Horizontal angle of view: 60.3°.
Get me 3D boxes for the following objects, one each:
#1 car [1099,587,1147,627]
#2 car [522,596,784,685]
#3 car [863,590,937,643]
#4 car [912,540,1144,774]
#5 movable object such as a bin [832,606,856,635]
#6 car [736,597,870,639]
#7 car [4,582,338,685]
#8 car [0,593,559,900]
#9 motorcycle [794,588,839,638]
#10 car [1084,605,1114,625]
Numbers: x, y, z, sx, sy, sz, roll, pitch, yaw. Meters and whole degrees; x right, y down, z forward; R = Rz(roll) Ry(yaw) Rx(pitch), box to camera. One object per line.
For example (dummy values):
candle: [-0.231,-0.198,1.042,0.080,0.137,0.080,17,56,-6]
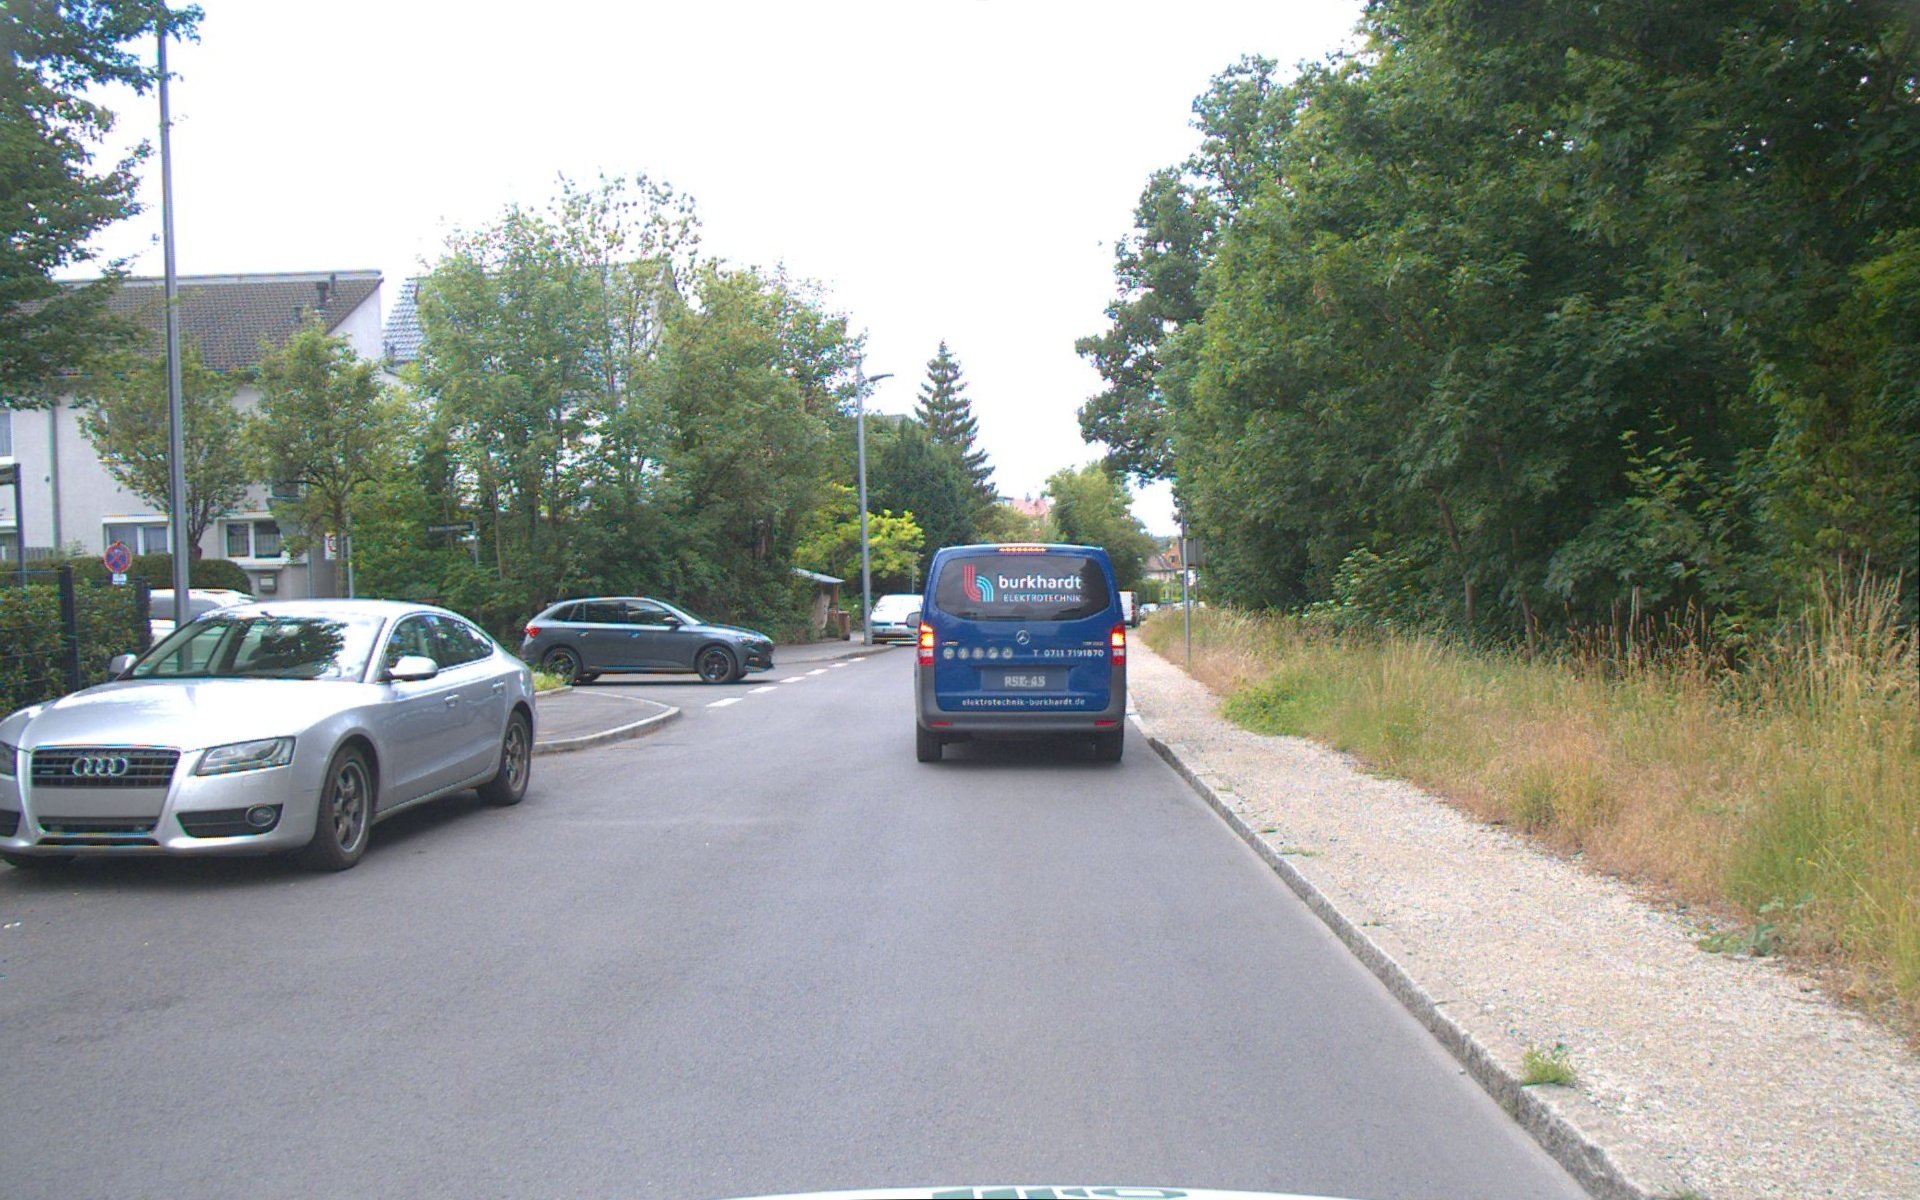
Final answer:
car: [8.991,0.359,90.756,2.158,2.100,6.140,-1,0,10]
car: [-5.157,0.666,28.114,4.079,1.472,1.741,0,0,3]
car: [-1.728,0.469,48.591,1.669,1.493,4.078,0,0,5]
car: [0.592,0.447,15.886,1.896,1.913,4.531,0,1,1]
movable object such as a bin: [-3.739,0.644,53.323,0.578,0.925,0.701,0,0,11]
car: [-5.517,0.624,58.368,4.385,1.466,1.880,0,0,8]
car: [-13.579,0.563,28.643,4.832,1.699,2.038,0,0,4]
car: [-3.940,0.674,9.958,1.793,1.398,4.447,0,0,2]
motorcycle: [-4.444,0.393,51.284,0.792,1.511,2.898,0,0,7]
car: [9.764,1.038,116.184,1.711,1.429,4.003,0,0,11]
